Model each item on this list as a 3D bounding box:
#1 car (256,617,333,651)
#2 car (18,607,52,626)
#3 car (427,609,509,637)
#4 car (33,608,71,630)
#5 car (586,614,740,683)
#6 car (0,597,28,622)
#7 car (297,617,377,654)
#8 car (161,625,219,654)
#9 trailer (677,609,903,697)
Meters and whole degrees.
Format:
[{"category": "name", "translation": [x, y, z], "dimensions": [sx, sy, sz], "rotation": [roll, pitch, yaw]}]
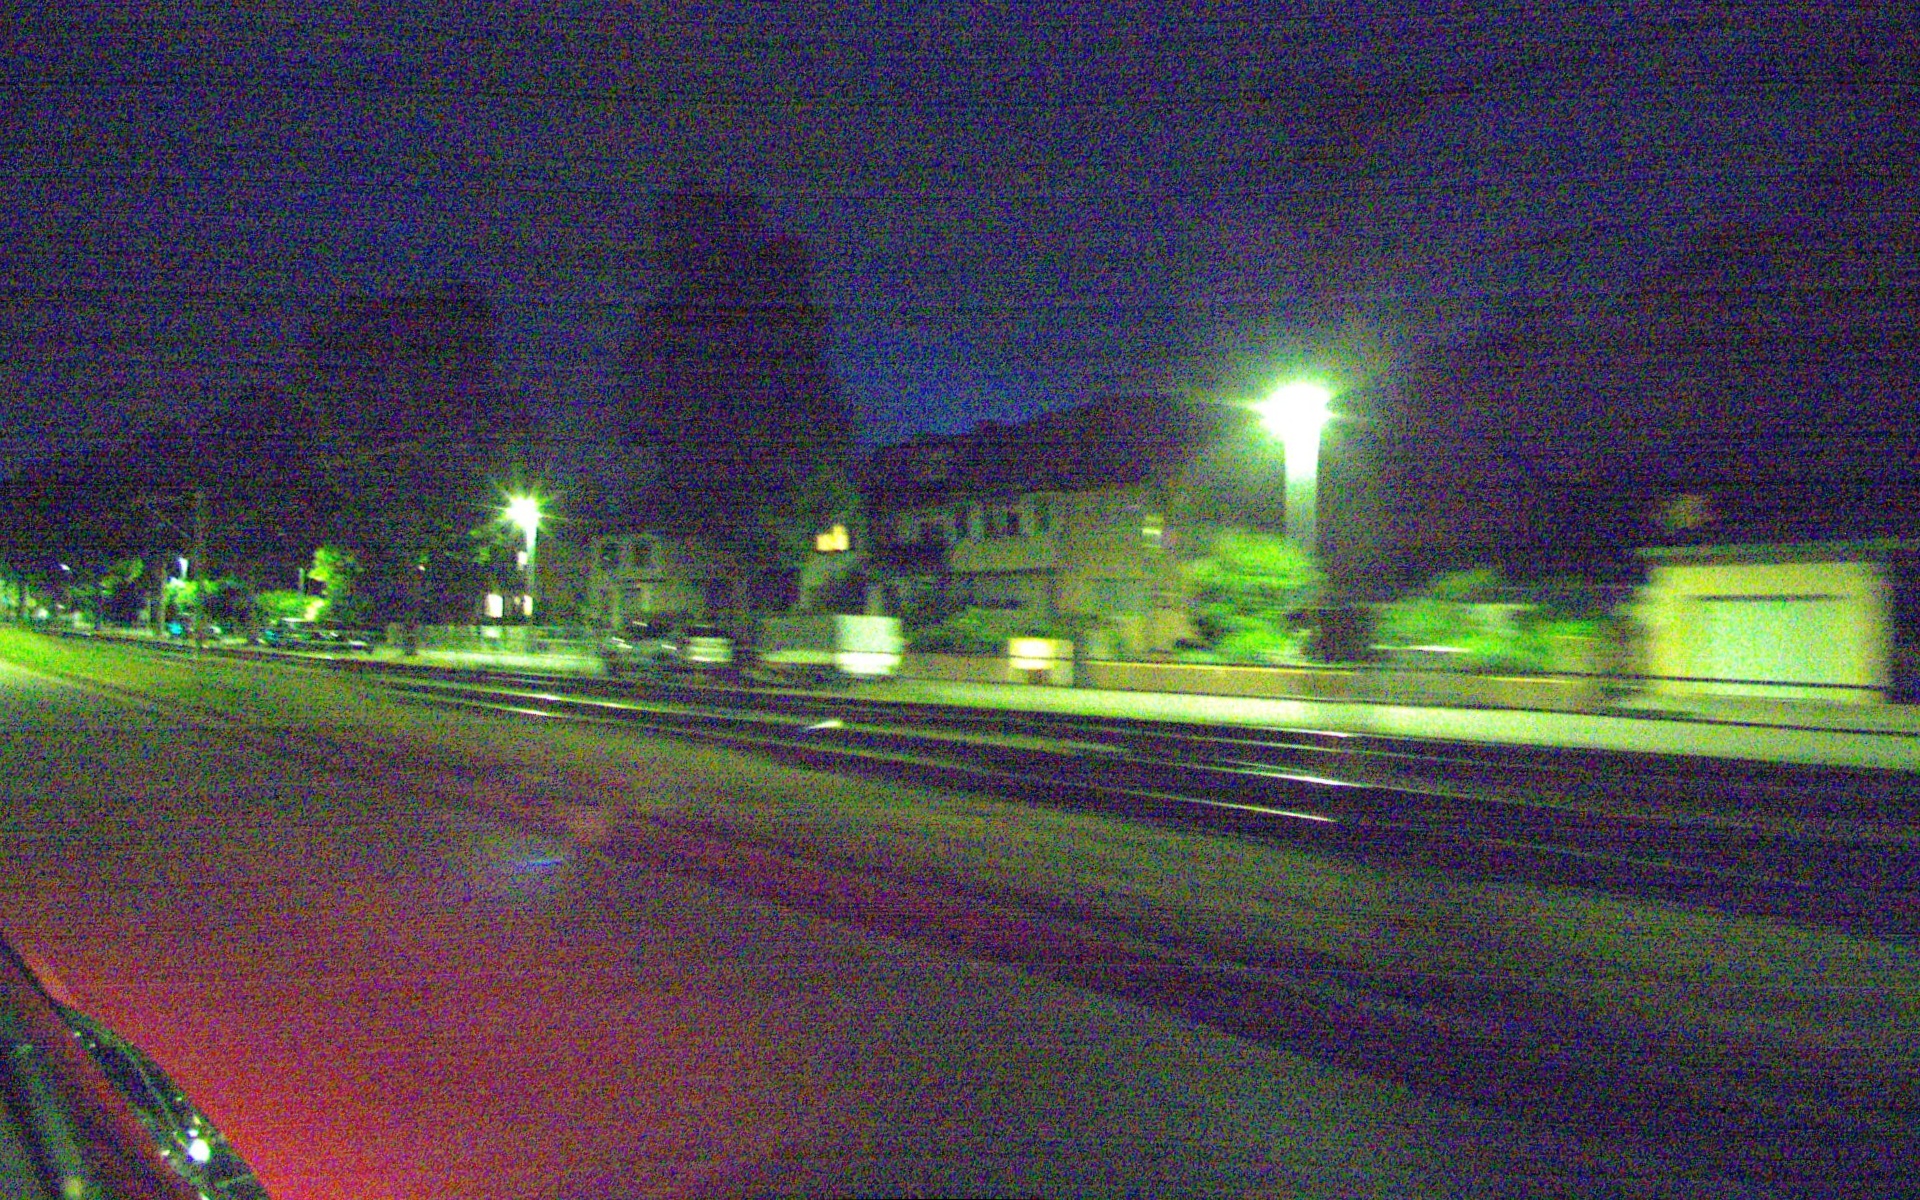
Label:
[{"category": "car", "translation": [-31.117, 1.563, 47.264], "dimensions": [4.985, 1.375, 1.879], "rotation": [0, -5, 44]}, {"category": "car", "translation": [-92.018, 1.632, 100.645], "dimensions": [4.721, 1.784, 2.096], "rotation": [0, -5, 44]}, {"category": "car", "translation": [-28.874, 1.305, 59.460], "dimensions": [1.887, 1.554, 3.948], "rotation": [0, 0, 39]}, {"category": "car", "translation": [-82.159, 1.731, 91.543], "dimensions": [4.721, 1.784, 2.096], "rotation": [0, -5, 44]}, {"category": "car", "translation": [-7.887, 1.244, 26.653], "dimensions": [4.535, 1.589, 1.698], "rotation": [0, -5, 43]}, {"category": "car", "translation": [-102.501, 0.985, 109.402], "dimensions": [4.721, 2.532, 2.135], "rotation": [0, -5, 44]}, {"category": "car", "translation": [-26.685, 1.504, 43.327], "dimensions": [4.144, 1.375, 1.710], "rotation": [0, -4, 41]}, {"category": "car", "translation": [-45.860, 2.339, 60.237], "dimensions": [4.691, 1.580, 1.745], "rotation": [-1, -7, 41]}, {"category": "trailer", "translation": [-4.025, 1.175, 23.228], "dimensions": [5.673, 1.794, 2.002], "rotation": [-1, -4, 42]}]
